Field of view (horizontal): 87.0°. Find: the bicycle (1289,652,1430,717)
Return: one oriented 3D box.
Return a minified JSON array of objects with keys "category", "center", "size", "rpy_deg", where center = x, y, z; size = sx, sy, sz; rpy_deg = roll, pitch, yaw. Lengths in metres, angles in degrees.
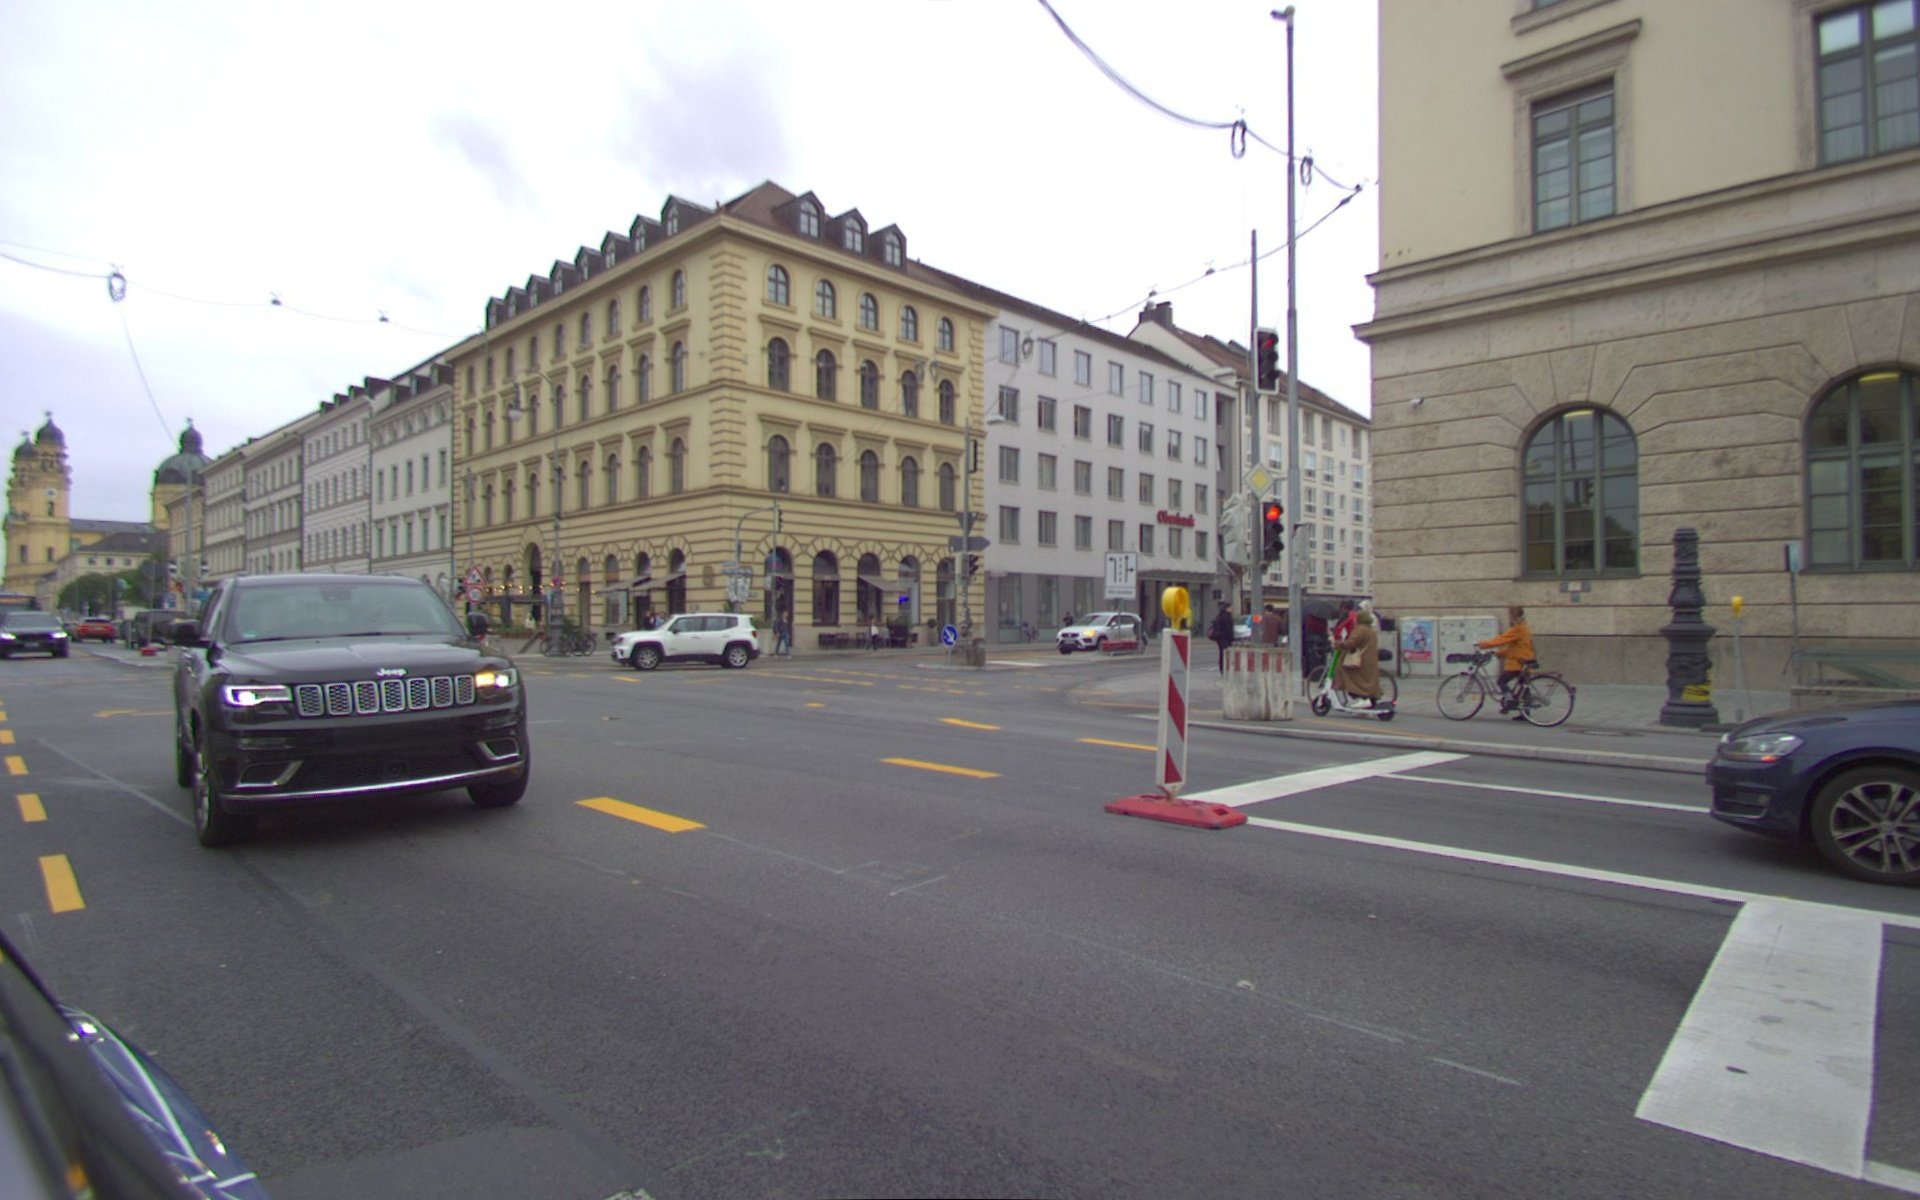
[{"category":"bicycle","center":[6.297,1.307,16.034],"size":[0.651,0.886,1.980],"rpy_deg":[1,-1,-43]}]

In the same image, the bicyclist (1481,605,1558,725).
[{"category":"bicyclist","center":[7.892,0.891,14.273],"size":[0.783,1.627,0.747],"rpy_deg":[1,-1,-44]}]

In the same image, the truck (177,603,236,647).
[{"category":"truck","center":[-47.590,1.571,63.885],"size":[4.784,2.683,2.190],"rpy_deg":[-2,-2,44]}]

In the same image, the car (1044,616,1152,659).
[{"category":"car","center":[5.231,1.368,37.929],"size":[2.000,1.535,4.173],"rpy_deg":[-2,-2,42]}]

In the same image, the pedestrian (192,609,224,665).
[{"category":"pedestrian","center":[-24.588,1.203,33.105],"size":[0.739,1.785,0.725],"rpy_deg":[0,-1,45]}]

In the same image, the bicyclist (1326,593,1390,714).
[{"category":"bicyclist","center":[6.302,0.819,16.031],"size":[0.651,1.856,0.747],"rpy_deg":[1,-1,-44]}]

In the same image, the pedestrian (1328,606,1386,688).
[{"category":"pedestrian","center":[7.757,0.899,19.778],"size":[0.656,1.569,0.821],"rpy_deg":[1,-1,-39]}]

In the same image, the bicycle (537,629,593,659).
[{"category":"bicycle","center":[-15.304,1.698,39.222],"size":[2.182,1.107,0.596],"rpy_deg":[-1,-2,20]}]

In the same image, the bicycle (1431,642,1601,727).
[{"category":"bicycle","center":[7.840,1.151,14.330],"size":[0.783,1.048,1.966],"rpy_deg":[1,-1,-43]}]

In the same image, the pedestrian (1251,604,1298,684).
[{"category":"pedestrian","center":[7.062,0.971,22.747],"size":[0.806,1.769,0.587],"rpy_deg":[1,-1,-15]}]

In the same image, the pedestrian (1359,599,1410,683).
[{"category":"pedestrian","center":[8.870,0.838,21.135],"size":[0.718,1.706,0.808],"rpy_deg":[0,-1,45]}]

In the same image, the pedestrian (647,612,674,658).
[{"category":"pedestrian","center":[-12.020,1.395,40.641],"size":[0.734,1.785,0.731],"rpy_deg":[0,-1,33]}]

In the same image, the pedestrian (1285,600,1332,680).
[{"category":"pedestrian","center":[7.916,0.900,23.026],"size":[0.806,1.769,0.587],"rpy_deg":[1,-1,-15]}]

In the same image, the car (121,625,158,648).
[{"category":"car","center":[-65.016,2.865,80.163],"size":[4.001,1.733,1.797],"rpy_deg":[-1,-2,44]}]

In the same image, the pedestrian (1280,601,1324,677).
[{"category":"pedestrian","center":[8.162,0.912,24.156],"size":[0.575,1.769,0.822],"rpy_deg":[1,-1,-32]}]

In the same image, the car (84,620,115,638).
[{"category":"car","center":[-81.296,2.715,95.563],"size":[4.001,1.733,1.797],"rpy_deg":[-1,-2,44]}]

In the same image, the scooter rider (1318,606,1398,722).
[{"category":"scooter rider","center":[5.857,0.917,14.914],"size":[0.584,1.635,0.936],"rpy_deg":[1,-1,-45]}]

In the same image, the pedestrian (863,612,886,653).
[{"category":"pedestrian","center":[-3.815,1.454,44.973],"size":[0.724,1.785,0.741],"rpy_deg":[1,-1,-35]}]

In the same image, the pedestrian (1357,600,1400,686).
[{"category":"pedestrian","center":[8.350,0.852,20.205],"size":[0.533,1.684,0.619],"rpy_deg":[1,-1,-39]}]

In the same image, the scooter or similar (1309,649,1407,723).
[{"category":"scooter or similar","center":[5.853,1.244,14.916],"size":[0.579,0.972,1.215],"rpy_deg":[1,-1,-45]}]

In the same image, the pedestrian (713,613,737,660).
[{"category":"pedestrian","center":[-9.122,1.412,39.261],"size":[0.726,1.785,0.738],"rpy_deg":[1,-1,-25]}]

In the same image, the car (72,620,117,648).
[{"category":"car","center":[-55.660,2.179,65.085],"size":[4.001,1.733,1.797],"rpy_deg":[-1,-2,44]}]

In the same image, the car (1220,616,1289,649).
[{"category":"car","center":[16.199,1.775,55.637],"size":[2.000,1.748,4.173],"rpy_deg":[-2,-2,43]}]

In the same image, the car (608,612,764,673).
[{"category":"car","center":[-7.988,1.201,29.495],"size":[4.159,1.690,1.805],"rpy_deg":[0,-2,-23]}]

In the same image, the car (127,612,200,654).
[{"category":"car","center":[-40.225,1.644,51.086],"size":[4.450,2.029,2.213],"rpy_deg":[-2,-2,43]}]

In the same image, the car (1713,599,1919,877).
[{"category":"car","center":[6.359,0.726,4.863],"size":[4.241,1.399,1.724],"rpy_deg":[0,-2,44]}]

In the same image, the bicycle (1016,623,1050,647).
[{"category":"bicycle","center":[3.993,1.894,55.408],"size":[2.166,1.252,0.600],"rpy_deg":[1,-1,-45]}]

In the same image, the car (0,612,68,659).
[{"category":"car","center":[-35.314,1.331,38.303],"size":[4.001,1.697,1.971],"rpy_deg":[-1,-2,44]}]

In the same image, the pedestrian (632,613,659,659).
[{"category":"pedestrian","center":[-12.438,1.412,40.016],"size":[0.734,1.785,0.731],"rpy_deg":[0,-1,33]}]

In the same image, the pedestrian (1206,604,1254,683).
[{"category":"pedestrian","center":[6.176,0.969,23.157],"size":[0.668,1.769,0.822],"rpy_deg":[1,-1,-30]}]

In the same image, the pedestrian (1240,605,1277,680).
[{"category":"pedestrian","center":[7.136,1.005,24.206],"size":[0.812,1.769,0.583],"rpy_deg":[0,-1,13]}]

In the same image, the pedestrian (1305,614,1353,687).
[{"category":"pedestrian","center":[8.003,1.079,21.963],"size":[0.807,1.539,0.668],"rpy_deg":[1,-1,-40]}]

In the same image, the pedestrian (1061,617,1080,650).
[{"category":"pedestrian","center":[6.171,1.860,56.432],"size":[0.739,1.785,0.726],"rpy_deg":[0,-1,43]}]

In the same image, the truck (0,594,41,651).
[{"category":"truck","center":[-53.823,1.195,56.746],"size":[7.147,3.036,2.948],"rpy_deg":[0,-1,45]}]

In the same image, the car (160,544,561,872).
[{"category":"car","center":[-4.847,0.634,7.811],"size":[1.969,1.748,4.593],"rpy_deg":[1,-2,-40]}]
